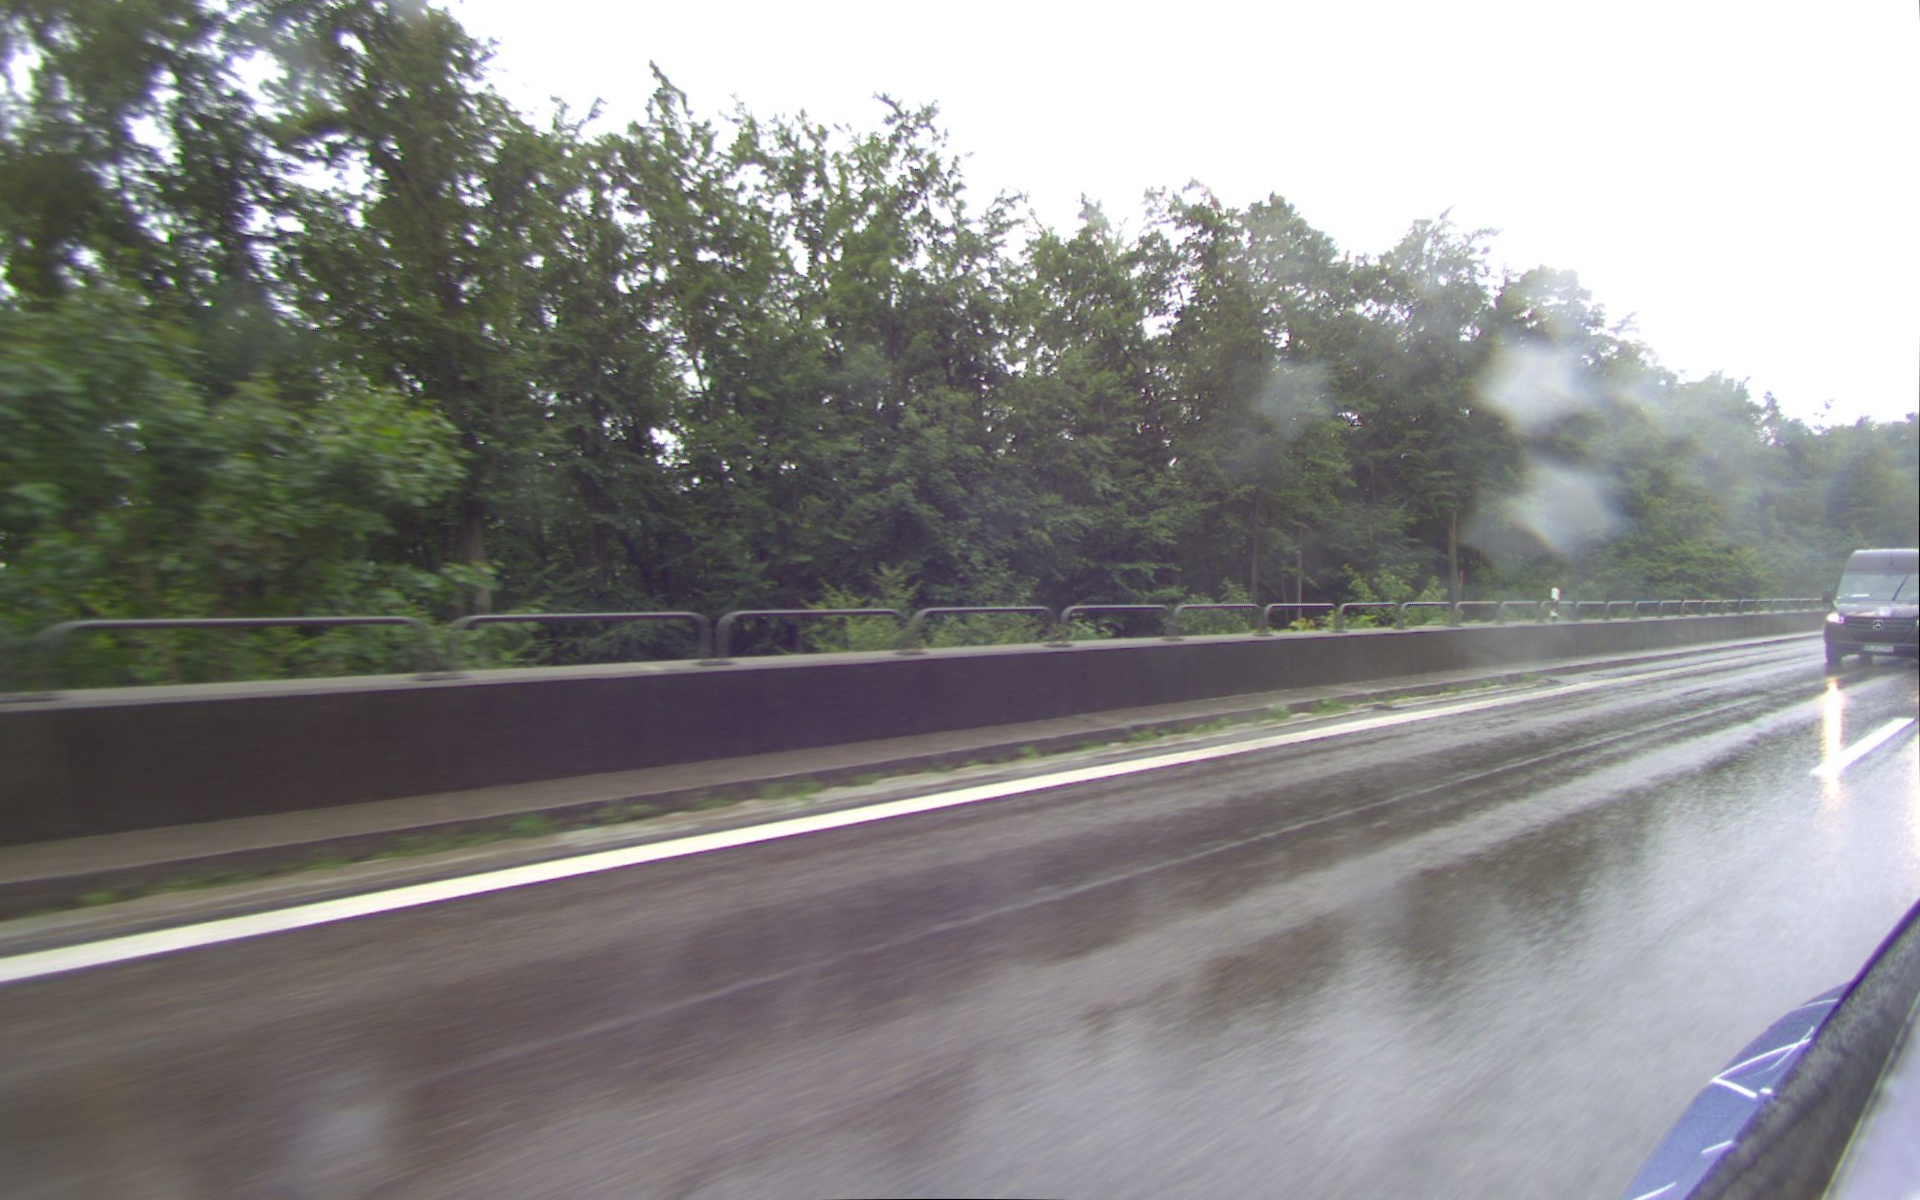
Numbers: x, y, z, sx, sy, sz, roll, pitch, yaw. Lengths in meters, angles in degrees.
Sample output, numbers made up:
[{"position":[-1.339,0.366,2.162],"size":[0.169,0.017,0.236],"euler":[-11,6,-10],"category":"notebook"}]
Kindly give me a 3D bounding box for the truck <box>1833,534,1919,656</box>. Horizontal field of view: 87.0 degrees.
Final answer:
[{"position":[22.701,-0.134,23.829],"size":[7.862,2.527,2.107],"euler":[0,1,-41],"category":"truck"}]
